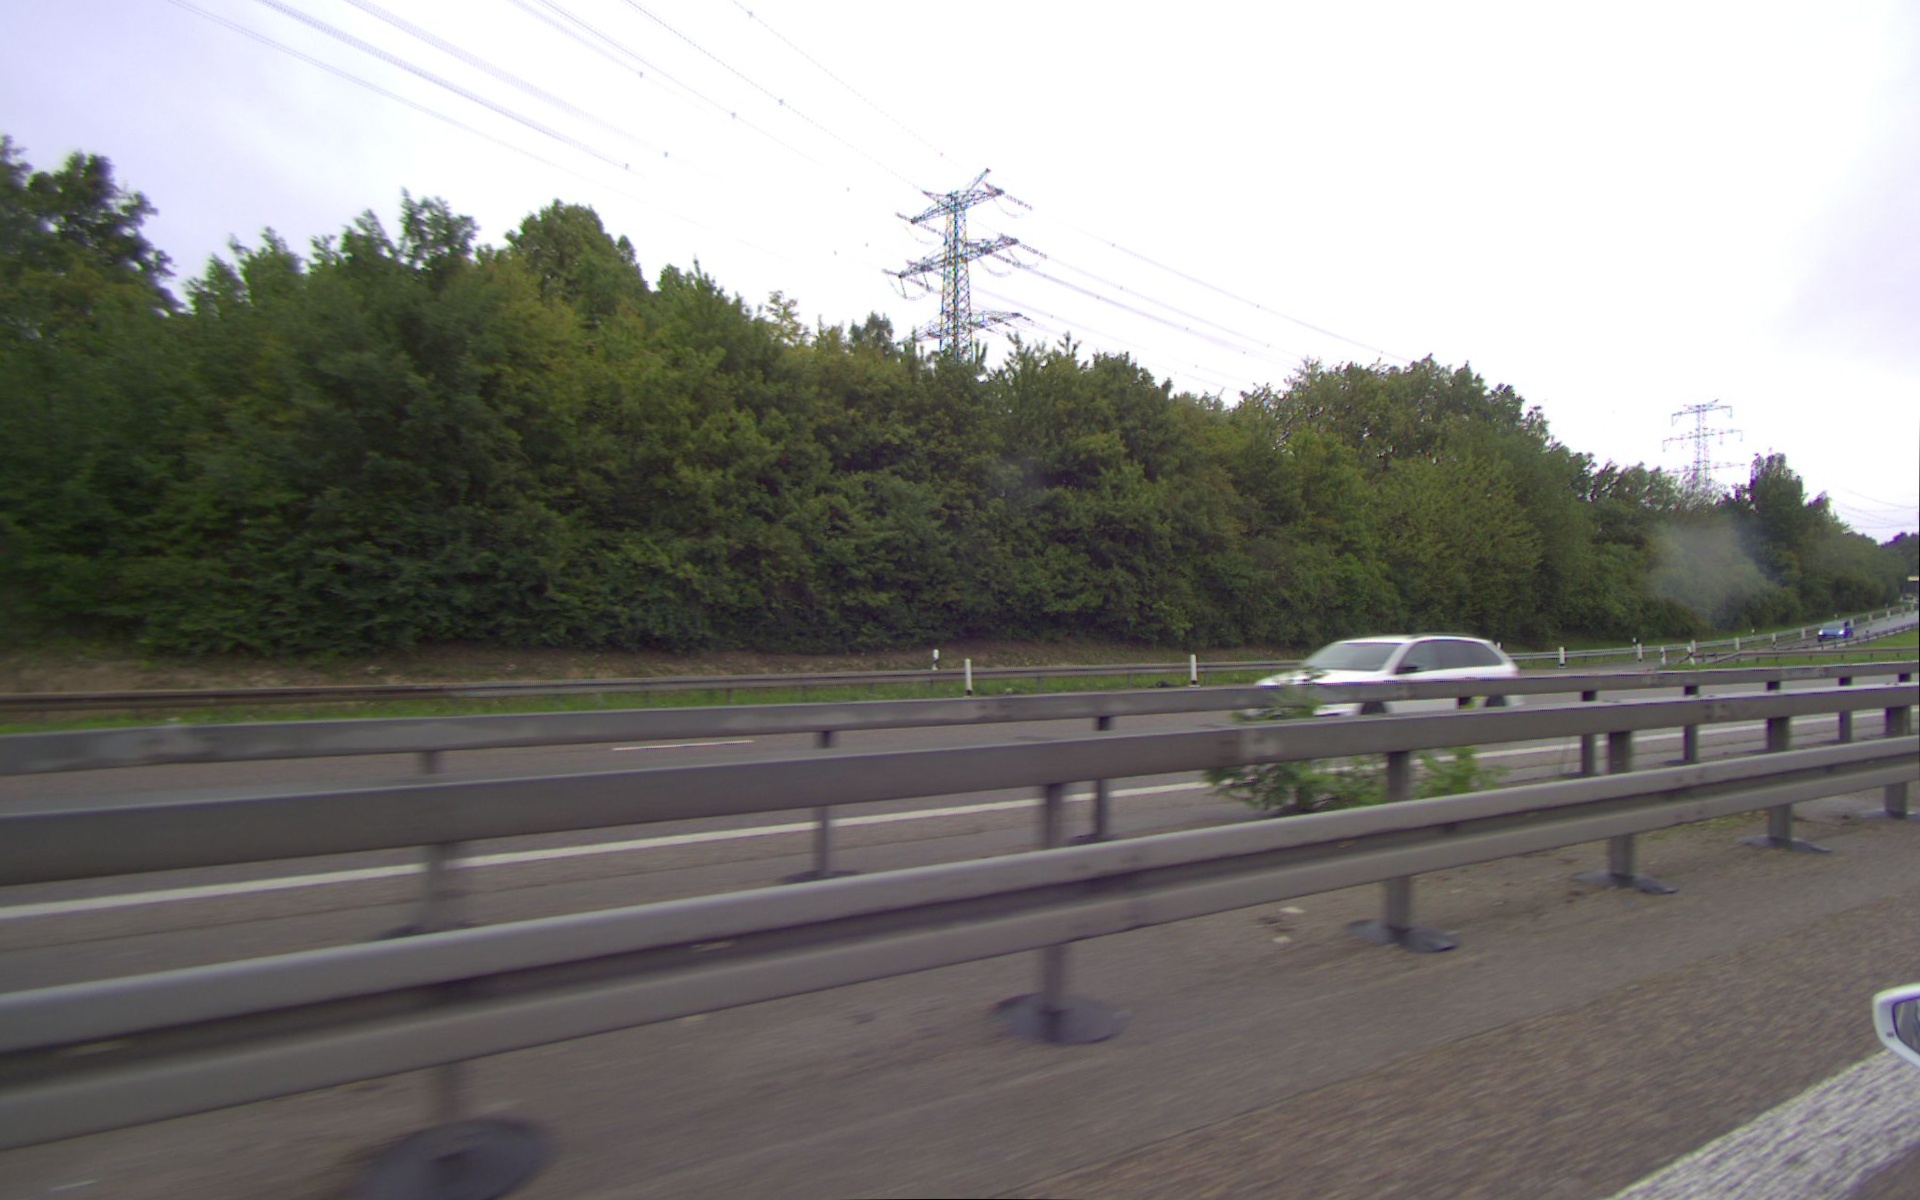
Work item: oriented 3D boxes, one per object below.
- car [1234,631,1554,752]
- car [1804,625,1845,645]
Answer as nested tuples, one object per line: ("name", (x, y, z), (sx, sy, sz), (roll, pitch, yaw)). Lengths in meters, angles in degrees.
("car", (6.279, 1.212, 14.372), (4.706, 1.480, 1.749), (1, -3, -30))
("car", (70.981, 2.880, 82.422), (3.967, 1.563, 1.952), (1, -2, -40))
